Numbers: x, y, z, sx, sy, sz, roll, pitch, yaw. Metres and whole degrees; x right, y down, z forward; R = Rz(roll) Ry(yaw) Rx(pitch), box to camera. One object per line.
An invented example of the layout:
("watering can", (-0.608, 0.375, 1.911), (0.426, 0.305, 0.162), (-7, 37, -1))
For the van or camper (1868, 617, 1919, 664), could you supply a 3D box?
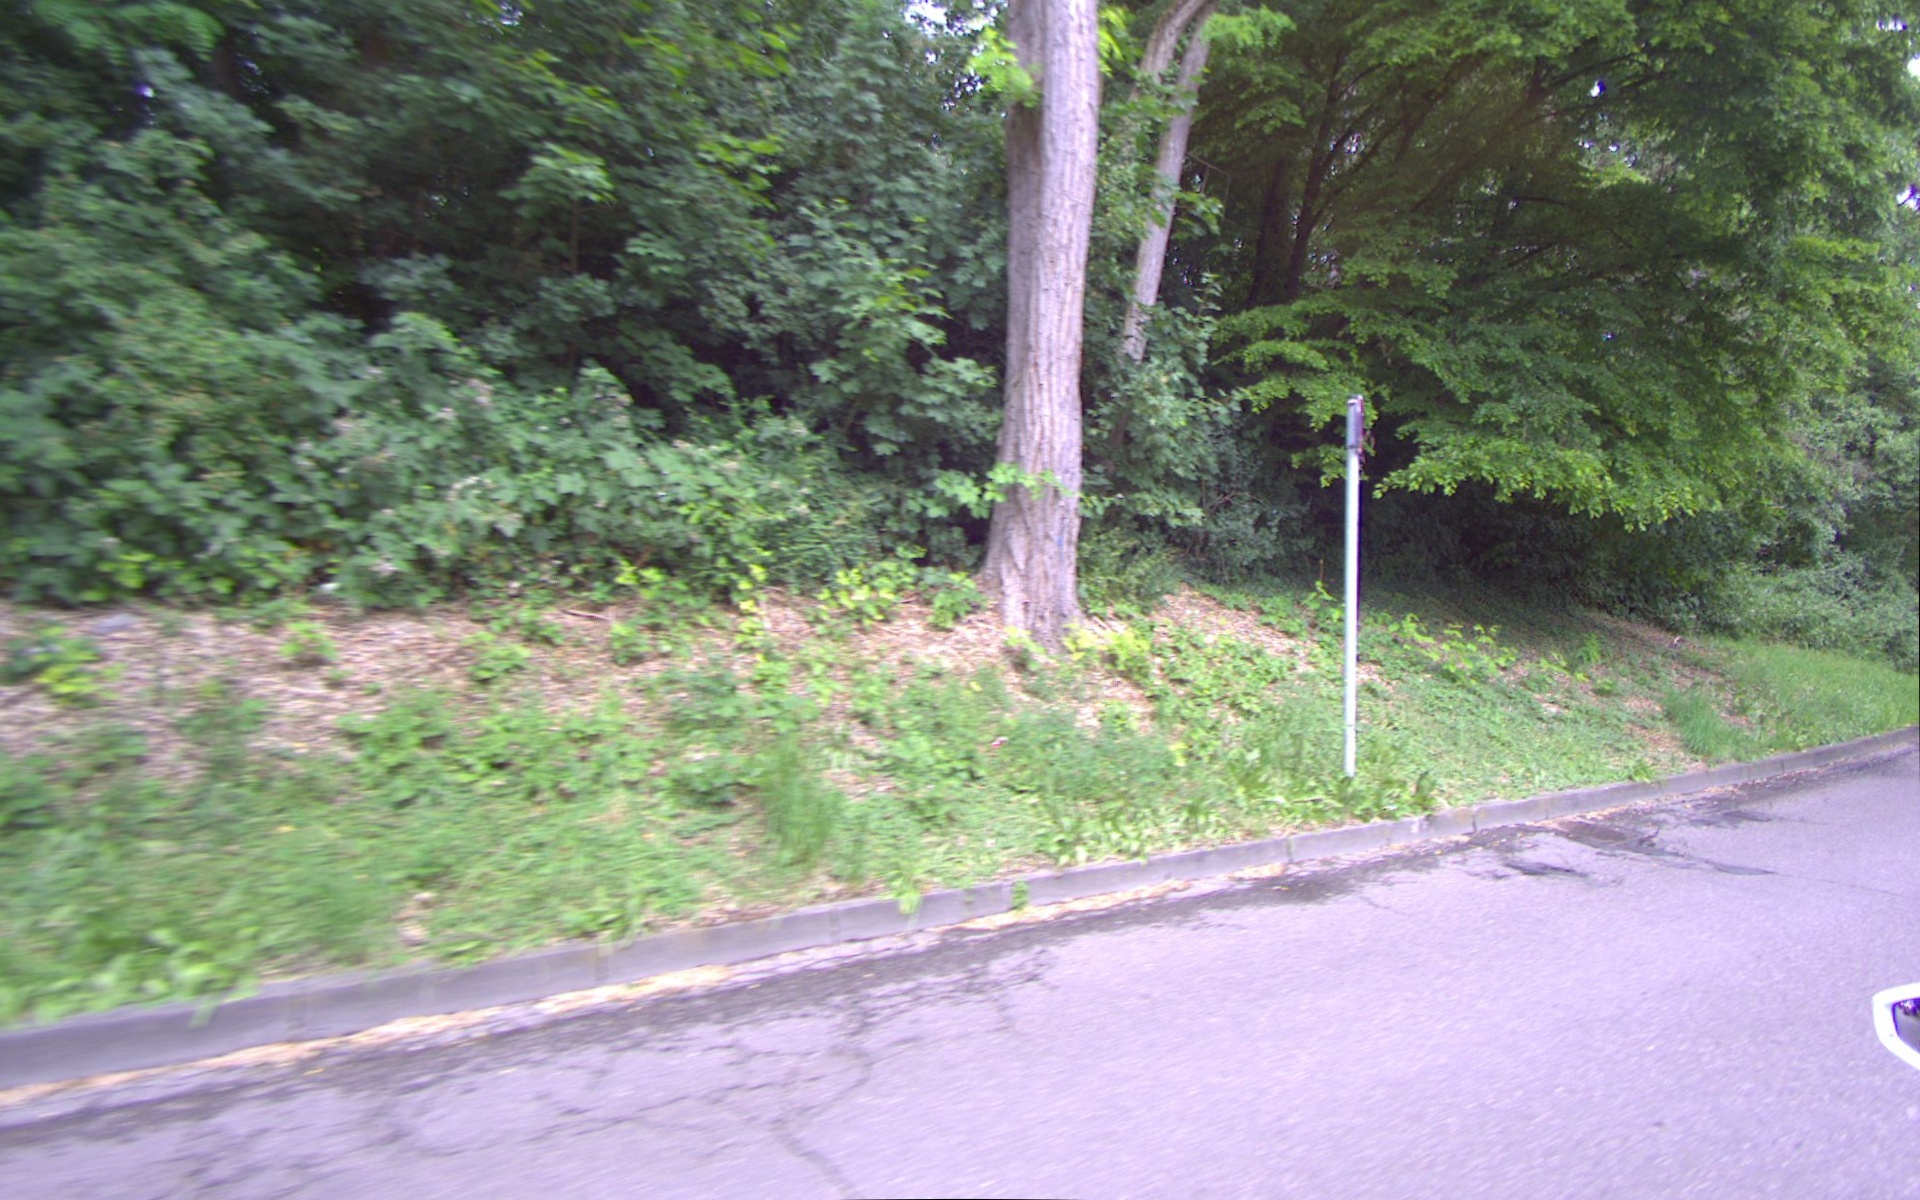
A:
("van or camper", (63.663, 2.679, 67.495), (2.390, 3.047, 5.206), (1, -1, 24))
